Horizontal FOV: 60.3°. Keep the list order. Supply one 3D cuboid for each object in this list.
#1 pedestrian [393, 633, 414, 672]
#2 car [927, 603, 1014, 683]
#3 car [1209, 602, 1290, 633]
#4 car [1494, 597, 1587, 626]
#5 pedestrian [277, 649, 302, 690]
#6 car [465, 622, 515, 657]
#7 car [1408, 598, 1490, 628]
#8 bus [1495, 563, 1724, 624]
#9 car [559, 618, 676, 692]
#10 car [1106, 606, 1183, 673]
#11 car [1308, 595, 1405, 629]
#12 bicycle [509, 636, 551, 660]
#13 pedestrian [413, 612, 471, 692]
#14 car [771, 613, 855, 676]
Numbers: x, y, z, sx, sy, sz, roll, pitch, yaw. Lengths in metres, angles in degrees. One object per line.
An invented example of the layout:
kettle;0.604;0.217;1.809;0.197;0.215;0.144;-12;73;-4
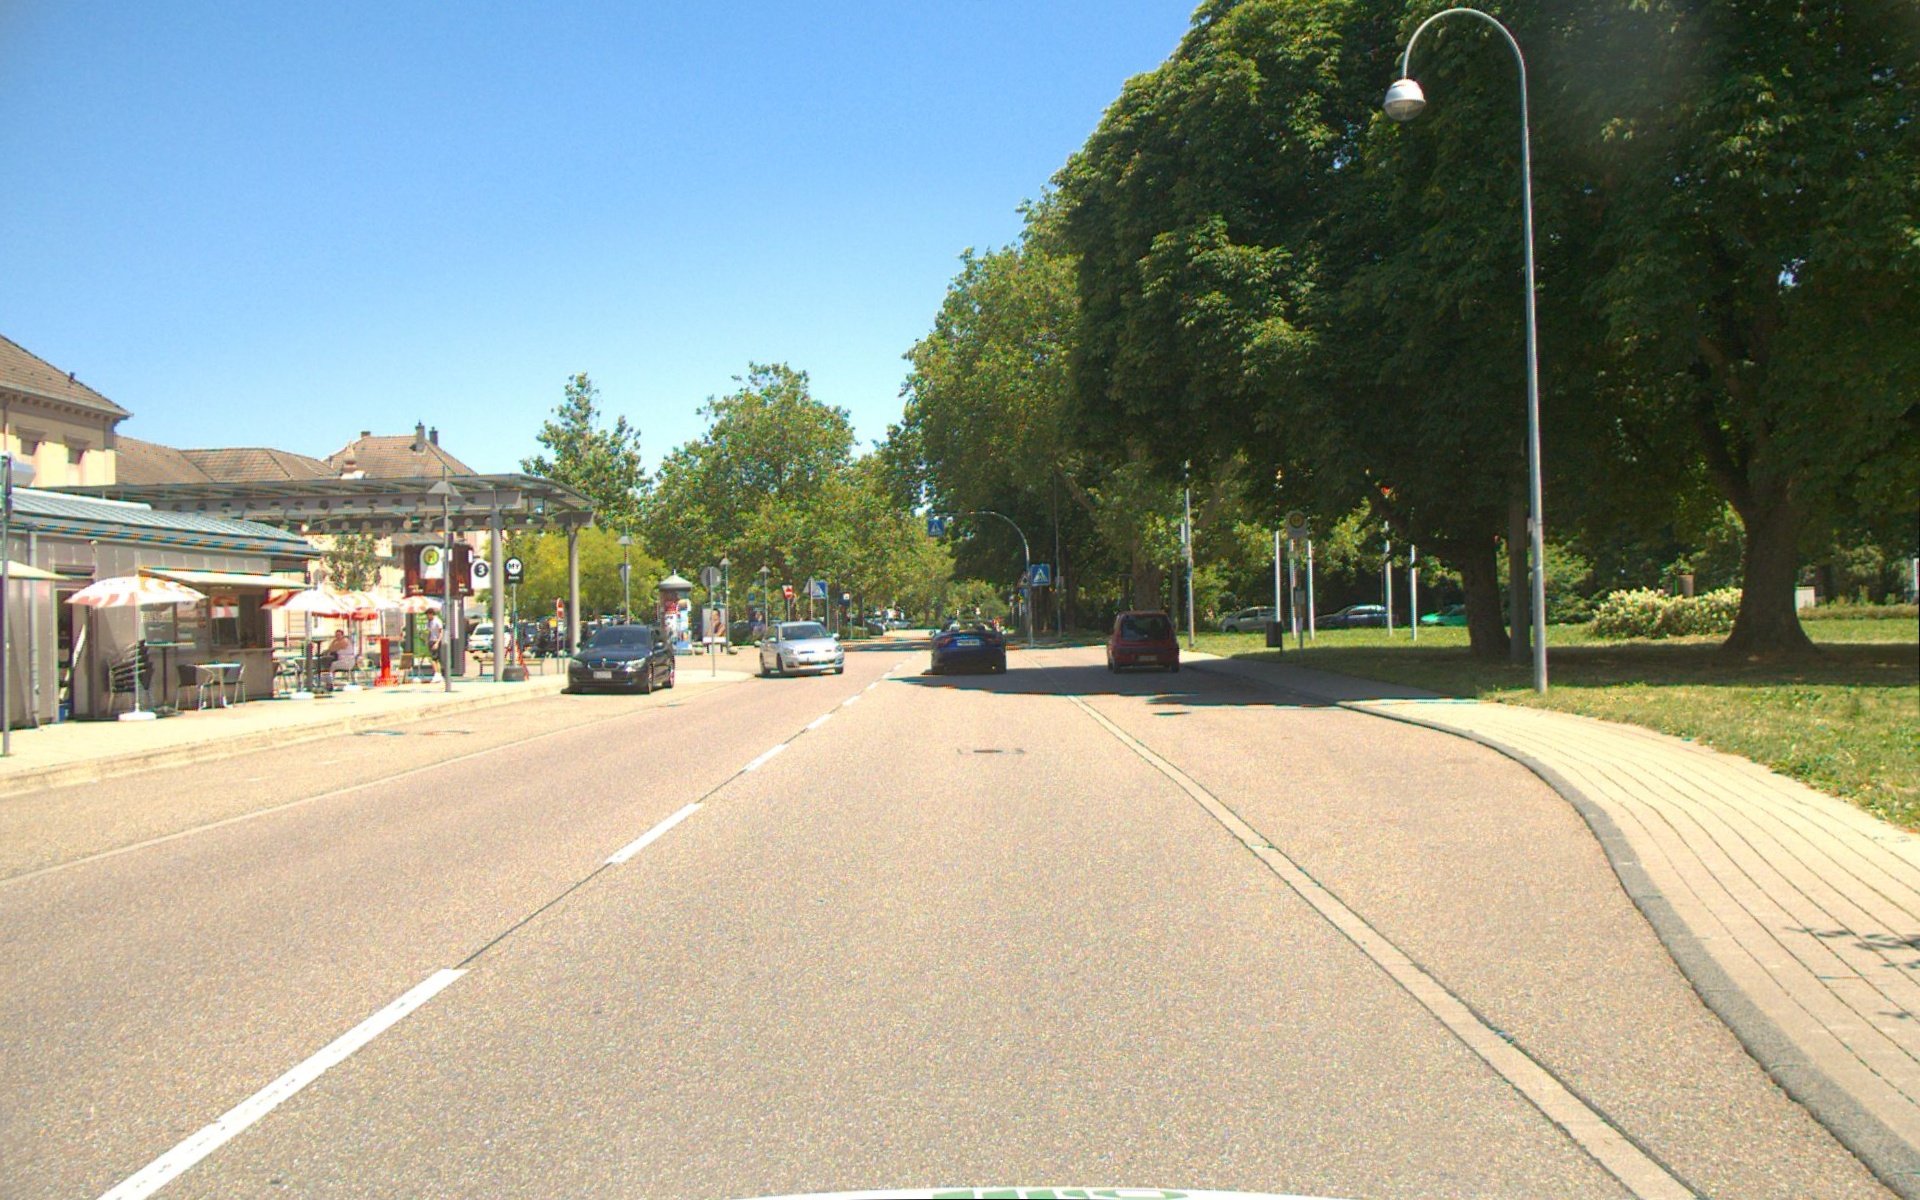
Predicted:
pedestrian;-24.872;2.361;73.960;0.621;1.703;0.652;-4;-3;44
car;0.307;1.064;41.729;2.081;1.881;4.048;-1;-1;1
car;15.485;0.938;88.671;4.019;1.492;2.001;-2;-1;3
car;30.966;0.613;88.260;4.248;1.441;2.000;-1;-2;1
pedestrian;-16.422;1.704;40.517;0.415;0.989;0.372;-2;-3;13
car;-29.782;2.481;104.890;1.715;1.950;4.776;-2;1;0
car;26.096;0.717;88.305;3.800;1.479;2.000;-1;-2;1
bus;36.938;-0.336;94.210;12.127;3.030;2.268;-2;-2;-1
car;-7.707;1.198;37.622;1.684;1.504;4.784;-2;-1;-1
car;4.470;0.937;40.427;1.682;1.504;3.708;-2;-1;4
car;21.111;0.645;88.147;4.722;1.635;2.001;-2;-1;4
bicycle;-19.190;2.135;73.772;1.769;1.049;0.485;-1;-1;-24
pedestrian;-12.379;1.234;39.532;0.783;1.860;1.143;-3;-3;17
car;-3.975;1.187;45.337;1.778;1.469;4.158;-5;0;0
